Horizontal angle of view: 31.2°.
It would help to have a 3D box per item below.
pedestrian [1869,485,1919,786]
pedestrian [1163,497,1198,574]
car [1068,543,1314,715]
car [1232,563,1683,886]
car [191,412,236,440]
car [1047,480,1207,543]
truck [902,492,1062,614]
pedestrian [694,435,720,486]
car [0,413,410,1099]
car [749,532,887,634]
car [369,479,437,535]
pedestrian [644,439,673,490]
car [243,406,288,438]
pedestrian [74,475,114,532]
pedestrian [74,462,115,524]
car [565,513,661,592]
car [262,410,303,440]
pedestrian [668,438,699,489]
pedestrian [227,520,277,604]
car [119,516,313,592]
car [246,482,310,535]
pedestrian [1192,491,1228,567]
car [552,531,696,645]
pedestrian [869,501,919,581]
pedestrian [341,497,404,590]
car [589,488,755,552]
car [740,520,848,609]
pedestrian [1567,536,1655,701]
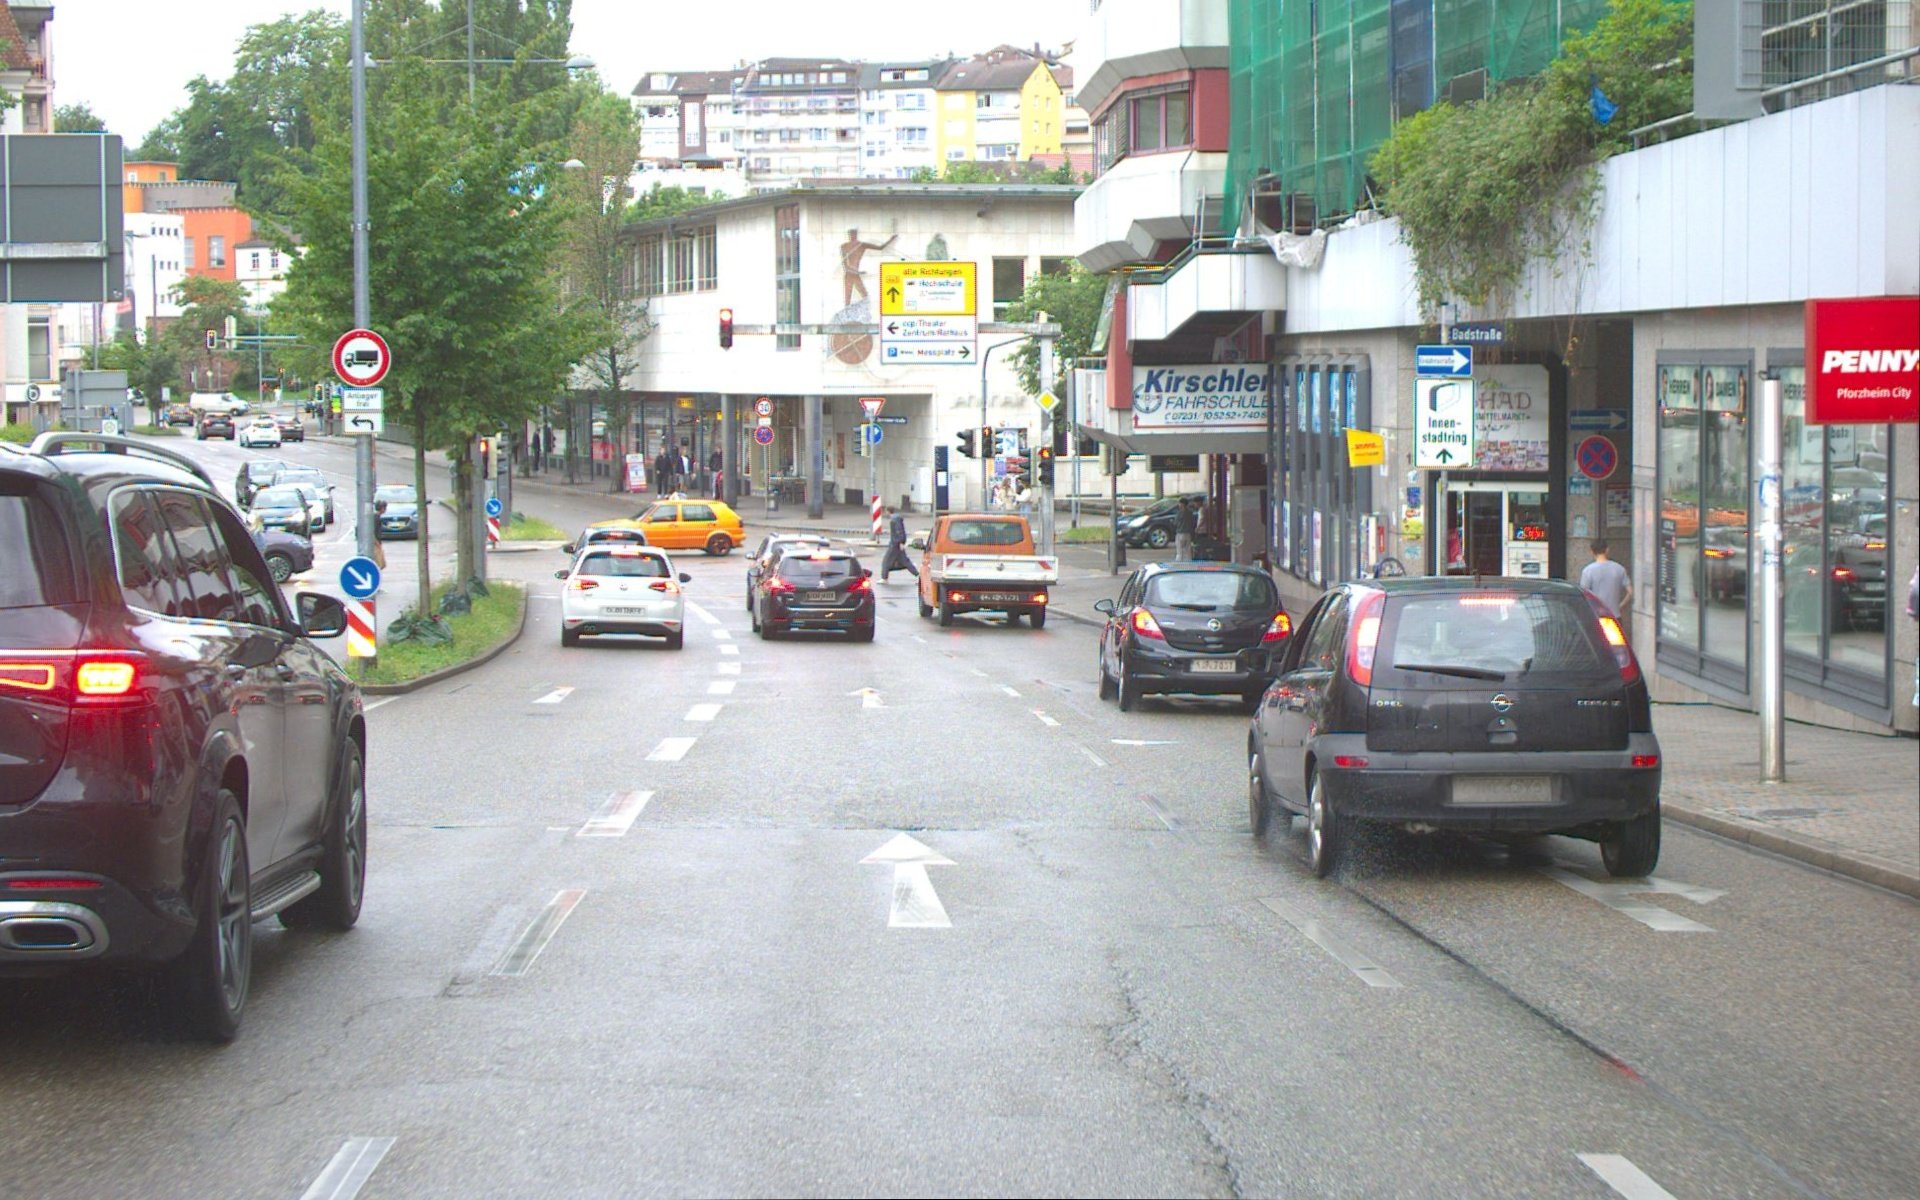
[{"bbox_3d":[5.807,0.185,20.026,0.836,1.716,0.829,-1,2,5],"label":"pedestrian"},{"bbox_3d":[4.943,-1.444,76.926,0.575,1.694,0.651,-2,1,-13],"label":"pedestrian"},{"bbox_3d":[2.233,0.242,34.326,1.949,1.568,4.001,0,2,-3],"label":"car"},{"bbox_3d":[2.395,0.542,17.410,1.717,1.415,3.770,0,1,0],"label":"car"},{"bbox_3d":[-43.320,-10.102,199.514,1.748,1.549,3.570,-1,2,-26],"label":"car"},{"bbox_3d":[4.362,-2.302,89.896,3.815,1.611,1.775,0,1,-19],"label":"car"},{"bbox_3d":[0.335,-0.874,61.404,2.183,2.075,5.605,0,2,-7],"label":"truck"},{"bbox_3d":[-9.096,-5.013,123.598,0.702,1.796,0.939,-2,1,-18],"label":"pedestrian"},{"bbox_3d":[-3.188,0.330,11.494,2.087,1.811,4.793,2,1,-3],"label":"car"},{"bbox_3d":[-2.309,-0.299,54.844,1.811,1.436,4.001,1,2,-8],"label":"car"},{"bbox_3d":[-15.707,-2.628,97.152,1.819,1.544,4.001,0,2,-8],"label":"car"},{"bbox_3d":[-10.828,-4.866,123.449,0.798,1.796,0.918,-2,1,-18],"label":"pedestrian"},{"bbox_3d":[-36.733,-9.421,181.789,1.993,1.590,4.001,-1,2,-16],"label":"car"},{"bbox_3d":[-24.878,-2.766,98.739,0.924,1.602,0.563,-3,2,-44],"label":"pedestrian"},{"bbox_3d":[-25.232,-3.117,100.224,0.903,1.796,0.627,-3,2,-44],"label":"pedestrian"},{"bbox_3d":[-6.812,-0.952,67.228,1.794,1.463,4.001,0,2,-7],"label":"car"},{"bbox_3d":[-38.426,-9.933,194.978,1.831,1.583,3.875,-1,2,-18],"label":"car"},{"bbox_3d":[-9.855,-4.857,122.505,0.846,1.796,1.056,-2,1,-18],"label":"pedestrian"},{"bbox_3d":[-14.868,-0.803,72.249,0.835,1.716,0.819,-1,2,0],"label":"pedestrian"},{"bbox_3d":[-16.535,-1.028,76.347,4.147,1.652,1.842,0,1,-14],"label":"car"},{"bbox_3d":[-19.020,-2.546,95.986,1.706,1.446,3.863,0,2,-11],"label":"car"},{"bbox_3d":[5.609,-1.588,77.134,0.575,1.694,0.651,-2,1,-18],"label":"pedestrian"},{"bbox_3d":[-4.867,-0.214,50.252,1.949,1.568,4.001,0,2,-4],"label":"car"},{"bbox_3d":[-1.443,-1.305,75.230,1.010,1.716,0.838,-1,2,1],"label":"pedestrian"},{"bbox_3d":[-12.078,-1.171,70.688,1.063,1.875,0.838,-1,2,3],"label":"pedestrian"},{"bbox_3d":[-7.288,-2.020,86.905,3.995,1.611,1.775,0,1,-12],"label":"car"},{"bbox_3d":[-3.129,-0.689,64.075,1.760,1.537,4.001,0,2,-6],"label":"car"},{"bbox_3d":[6.606,0.188,34.883,0.642,1.644,0.561,-2,0,39],"label":"pedestrian"}]
